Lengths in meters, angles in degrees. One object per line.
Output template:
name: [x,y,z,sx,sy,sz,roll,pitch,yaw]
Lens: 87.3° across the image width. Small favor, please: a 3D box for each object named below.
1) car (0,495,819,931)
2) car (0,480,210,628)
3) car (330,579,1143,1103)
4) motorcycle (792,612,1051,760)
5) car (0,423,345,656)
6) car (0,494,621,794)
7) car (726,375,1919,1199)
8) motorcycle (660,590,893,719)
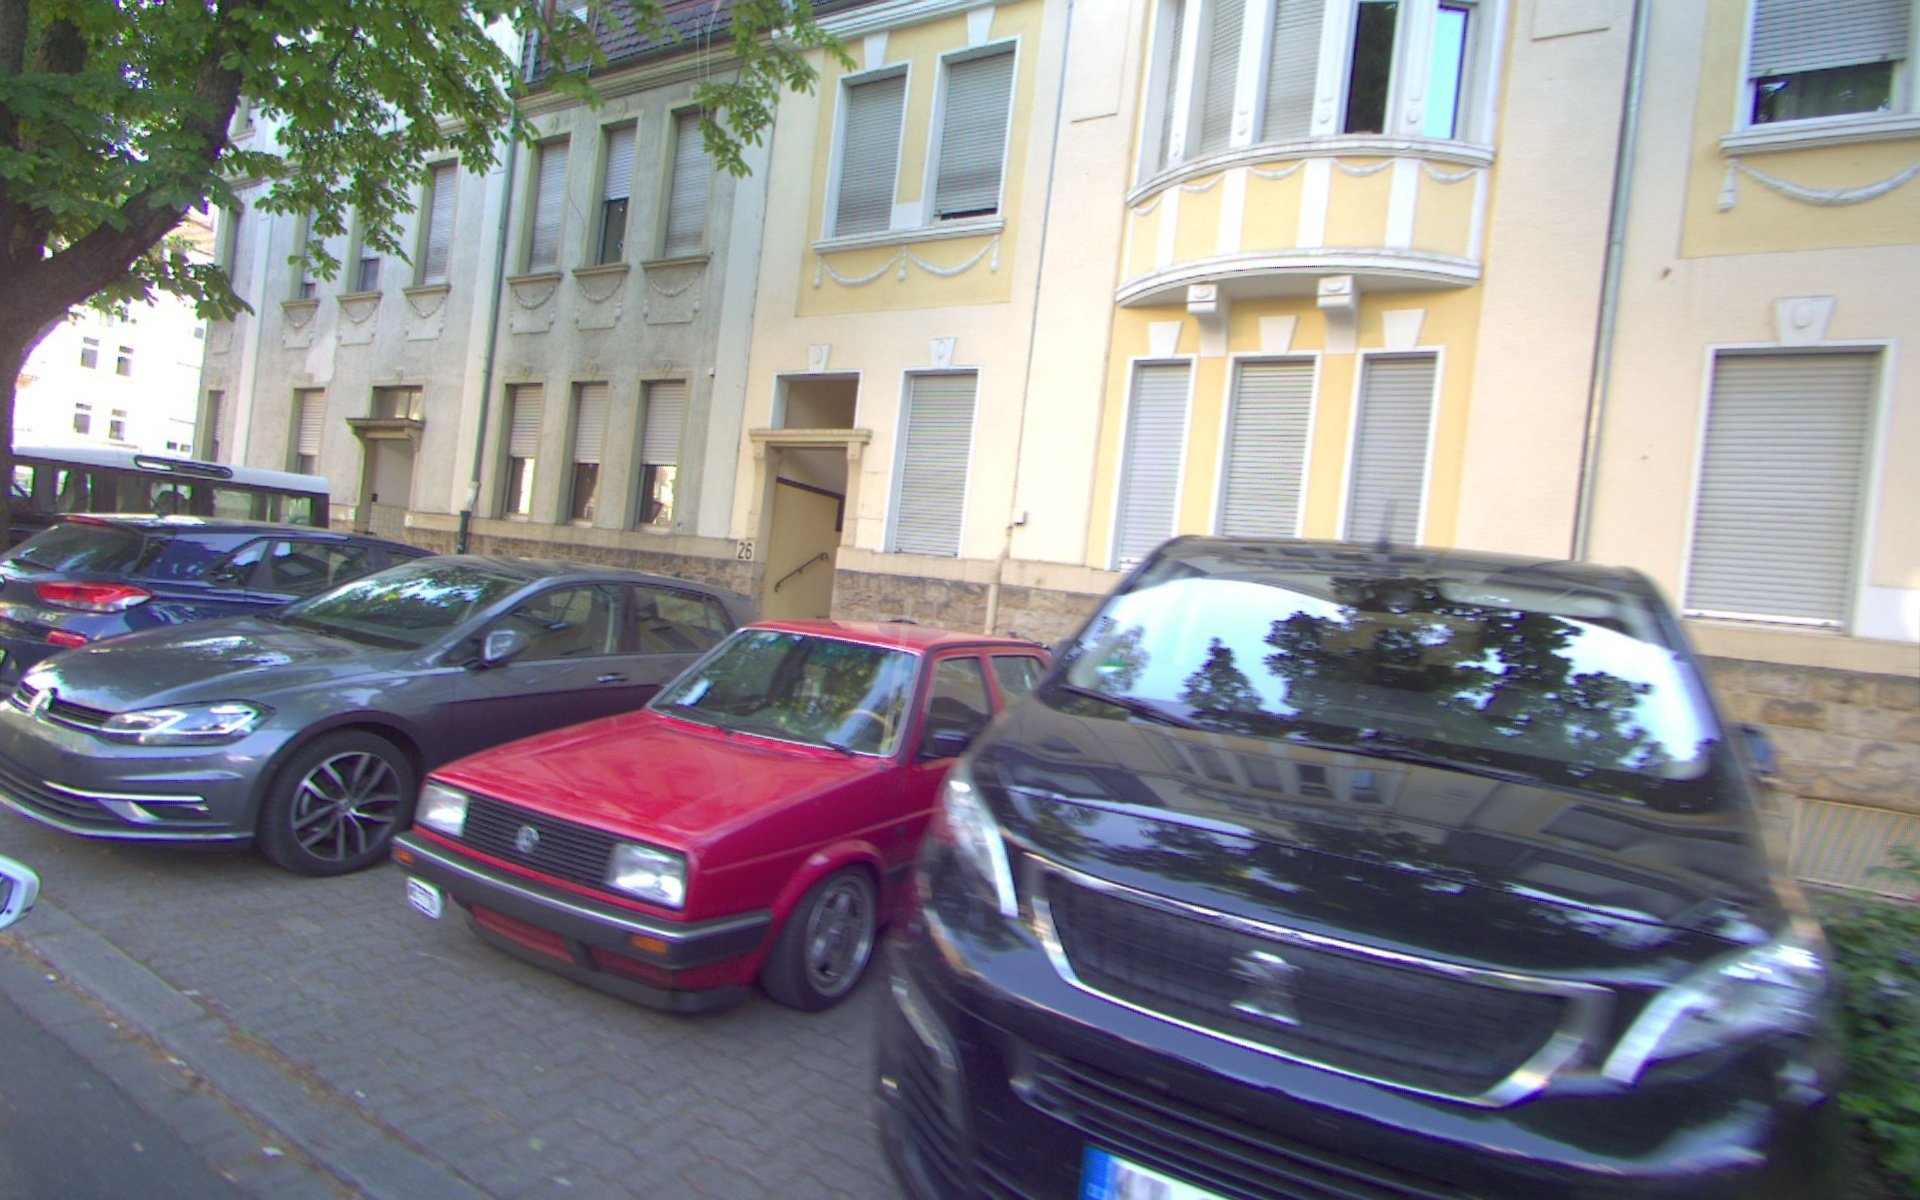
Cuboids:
car: [-2.751,0.452,5.684,1.693,1.470,4.060,7,0,28]
car: [-11.370,-0.614,11.757,1.679,1.589,3.730,7,0,28]
car: [-0.522,0.780,5.020,1.601,1.332,4.144,7,0,27]
motorcycle: [-0.428,0.813,10.245,2.439,1.087,0.959,7,2,32]
car: [-8.983,-0.583,10.068,1.671,2.061,4.473,7,0,28]
car: [-4.467,0.256,7.041,1.679,1.470,3.730,7,0,28]
car: [1.487,0.721,3.730,1.864,1.898,4.759,7,0,27]
motorcycle: [-2.176,0.580,11.630,2.821,1.087,0.694,7,2,31]
